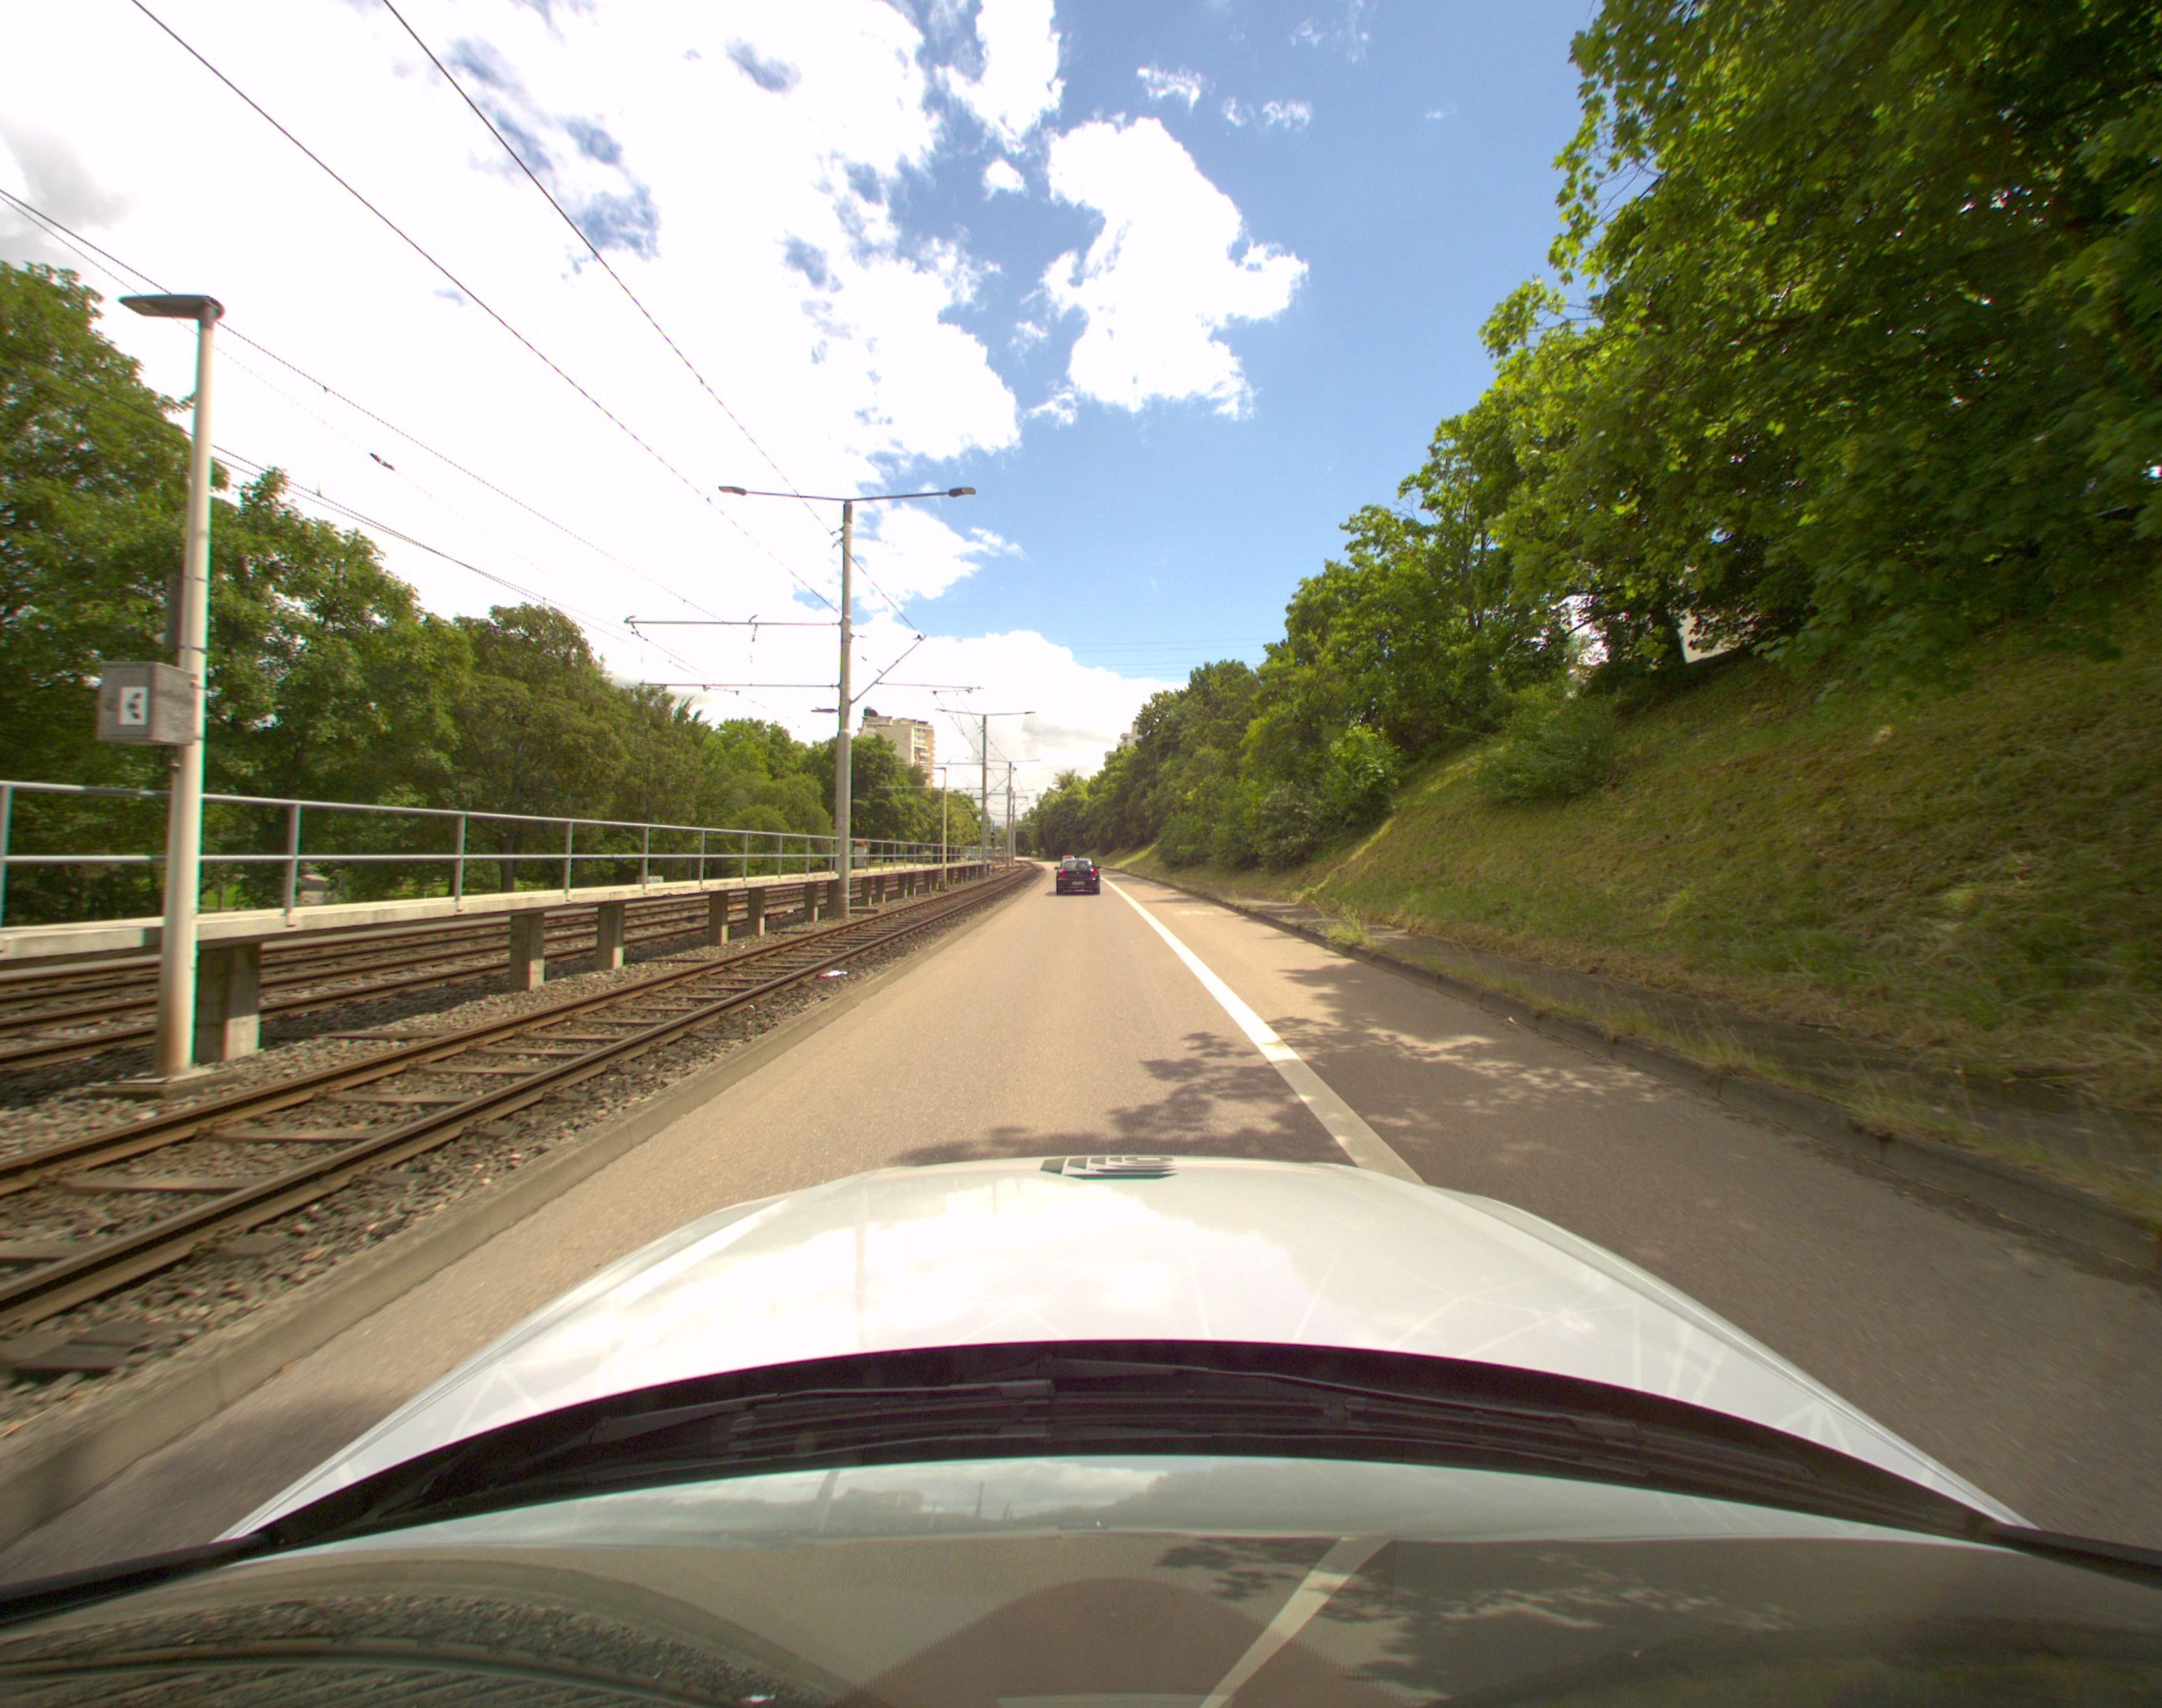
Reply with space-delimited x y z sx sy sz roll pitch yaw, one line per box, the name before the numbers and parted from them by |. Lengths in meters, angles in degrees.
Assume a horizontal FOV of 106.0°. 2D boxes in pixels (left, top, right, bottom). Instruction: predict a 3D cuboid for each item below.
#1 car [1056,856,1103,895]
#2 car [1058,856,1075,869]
car | -0.074 0.827 32.892 1.776 1.459 3.920 -1 0 -1
car | -1.668 0.952 92.361 1.777 1.460 3.918 0 -1 -2
